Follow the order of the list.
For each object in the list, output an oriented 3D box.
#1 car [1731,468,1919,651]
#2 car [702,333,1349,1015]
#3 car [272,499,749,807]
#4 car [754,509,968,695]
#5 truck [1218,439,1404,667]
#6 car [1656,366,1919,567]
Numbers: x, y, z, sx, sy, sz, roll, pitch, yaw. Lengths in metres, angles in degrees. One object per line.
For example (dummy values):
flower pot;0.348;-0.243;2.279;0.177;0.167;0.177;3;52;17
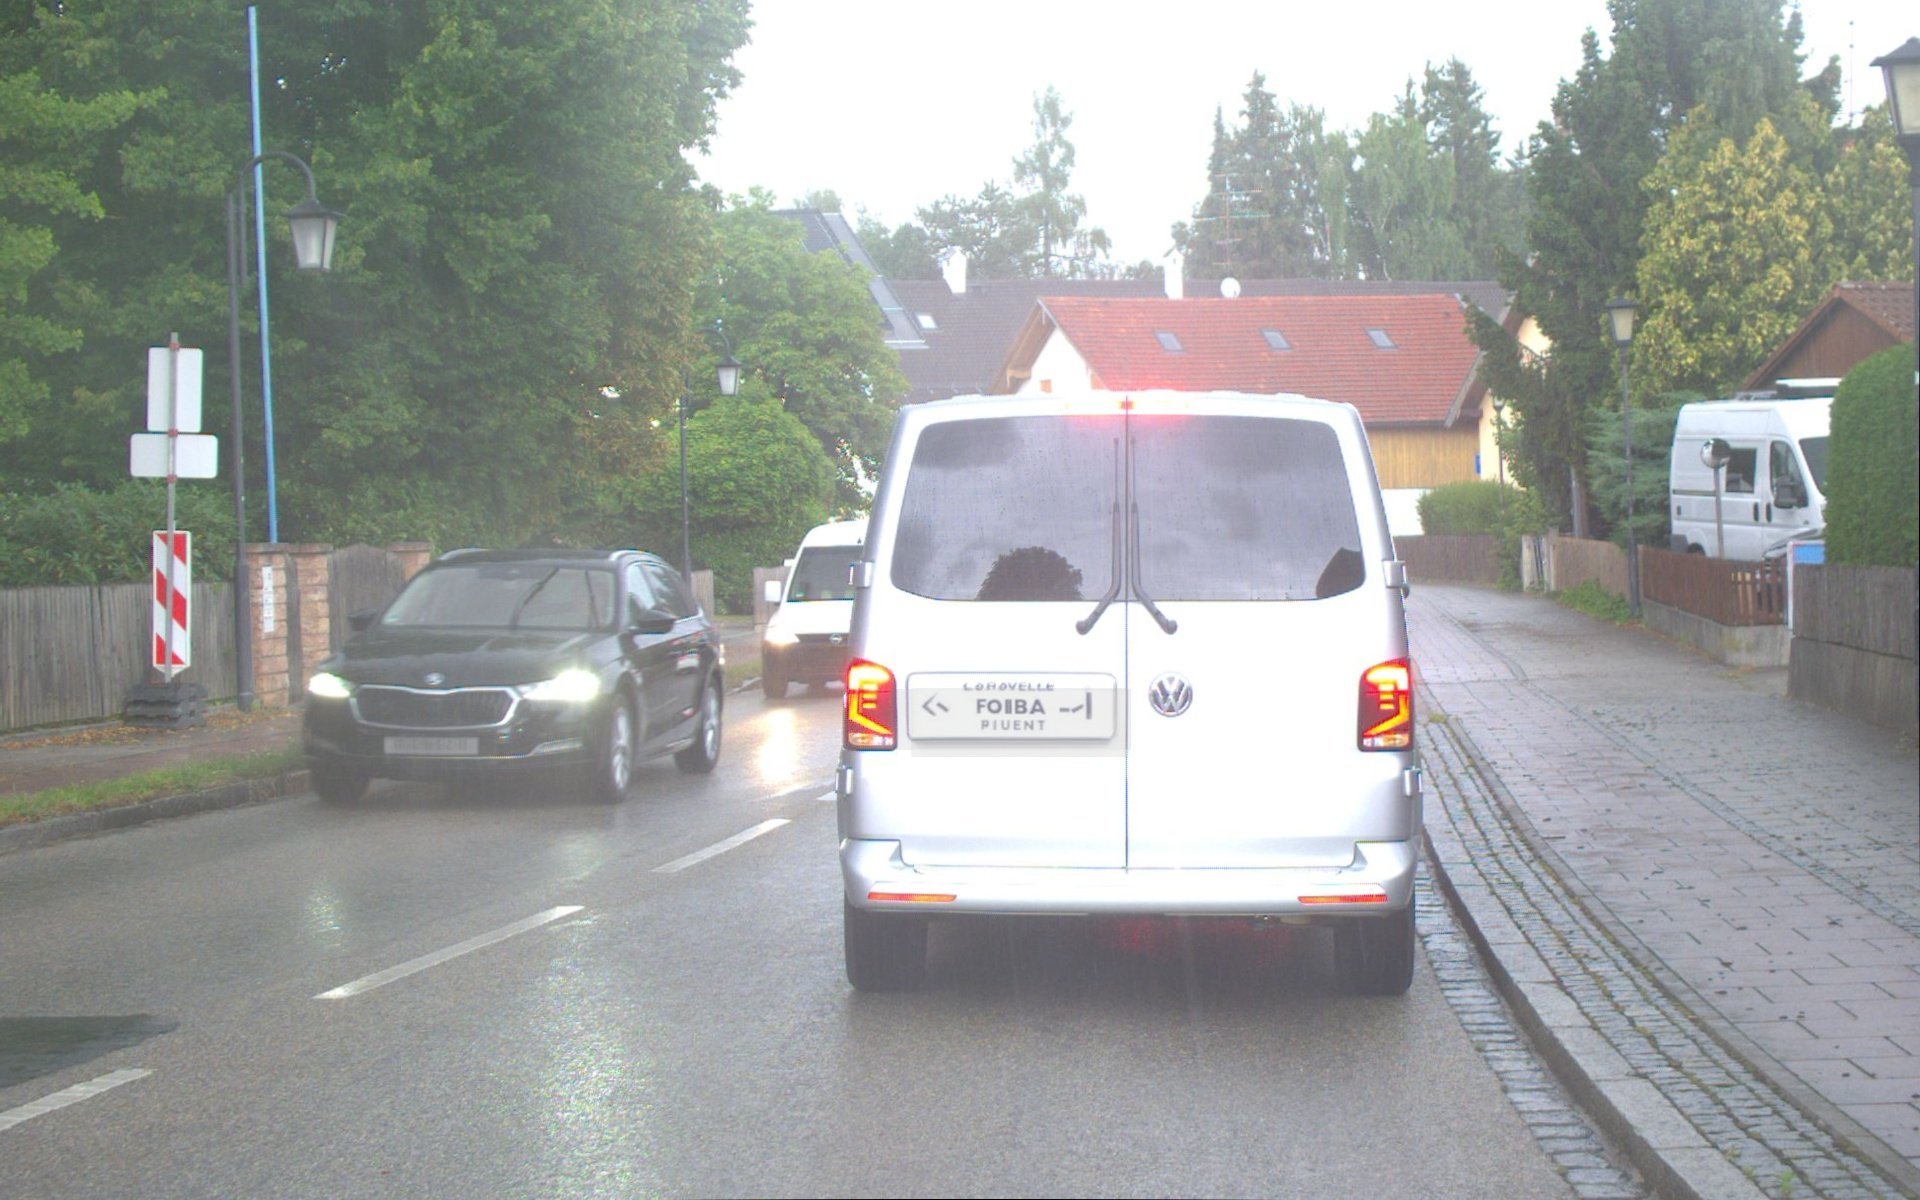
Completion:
car;10.037;-0.456;34.822;4.093;1.745;1.694;-1;3;3
car;0.407;0.199;12.245;1.801;2.007;3.999;1;0;8
car;-2.573;0.271;20.794;1.784;1.657;4.445;0;0;7
car;-0.948;0.005;35.186;1.640;1.759;4.330;1;0;6
truck;5.070;-0.662;49.976;2.476;3.063;6.295;1;0;5
car;9.929;-1.485;40.124;1.993;2.166;4.954;1;0;-8
